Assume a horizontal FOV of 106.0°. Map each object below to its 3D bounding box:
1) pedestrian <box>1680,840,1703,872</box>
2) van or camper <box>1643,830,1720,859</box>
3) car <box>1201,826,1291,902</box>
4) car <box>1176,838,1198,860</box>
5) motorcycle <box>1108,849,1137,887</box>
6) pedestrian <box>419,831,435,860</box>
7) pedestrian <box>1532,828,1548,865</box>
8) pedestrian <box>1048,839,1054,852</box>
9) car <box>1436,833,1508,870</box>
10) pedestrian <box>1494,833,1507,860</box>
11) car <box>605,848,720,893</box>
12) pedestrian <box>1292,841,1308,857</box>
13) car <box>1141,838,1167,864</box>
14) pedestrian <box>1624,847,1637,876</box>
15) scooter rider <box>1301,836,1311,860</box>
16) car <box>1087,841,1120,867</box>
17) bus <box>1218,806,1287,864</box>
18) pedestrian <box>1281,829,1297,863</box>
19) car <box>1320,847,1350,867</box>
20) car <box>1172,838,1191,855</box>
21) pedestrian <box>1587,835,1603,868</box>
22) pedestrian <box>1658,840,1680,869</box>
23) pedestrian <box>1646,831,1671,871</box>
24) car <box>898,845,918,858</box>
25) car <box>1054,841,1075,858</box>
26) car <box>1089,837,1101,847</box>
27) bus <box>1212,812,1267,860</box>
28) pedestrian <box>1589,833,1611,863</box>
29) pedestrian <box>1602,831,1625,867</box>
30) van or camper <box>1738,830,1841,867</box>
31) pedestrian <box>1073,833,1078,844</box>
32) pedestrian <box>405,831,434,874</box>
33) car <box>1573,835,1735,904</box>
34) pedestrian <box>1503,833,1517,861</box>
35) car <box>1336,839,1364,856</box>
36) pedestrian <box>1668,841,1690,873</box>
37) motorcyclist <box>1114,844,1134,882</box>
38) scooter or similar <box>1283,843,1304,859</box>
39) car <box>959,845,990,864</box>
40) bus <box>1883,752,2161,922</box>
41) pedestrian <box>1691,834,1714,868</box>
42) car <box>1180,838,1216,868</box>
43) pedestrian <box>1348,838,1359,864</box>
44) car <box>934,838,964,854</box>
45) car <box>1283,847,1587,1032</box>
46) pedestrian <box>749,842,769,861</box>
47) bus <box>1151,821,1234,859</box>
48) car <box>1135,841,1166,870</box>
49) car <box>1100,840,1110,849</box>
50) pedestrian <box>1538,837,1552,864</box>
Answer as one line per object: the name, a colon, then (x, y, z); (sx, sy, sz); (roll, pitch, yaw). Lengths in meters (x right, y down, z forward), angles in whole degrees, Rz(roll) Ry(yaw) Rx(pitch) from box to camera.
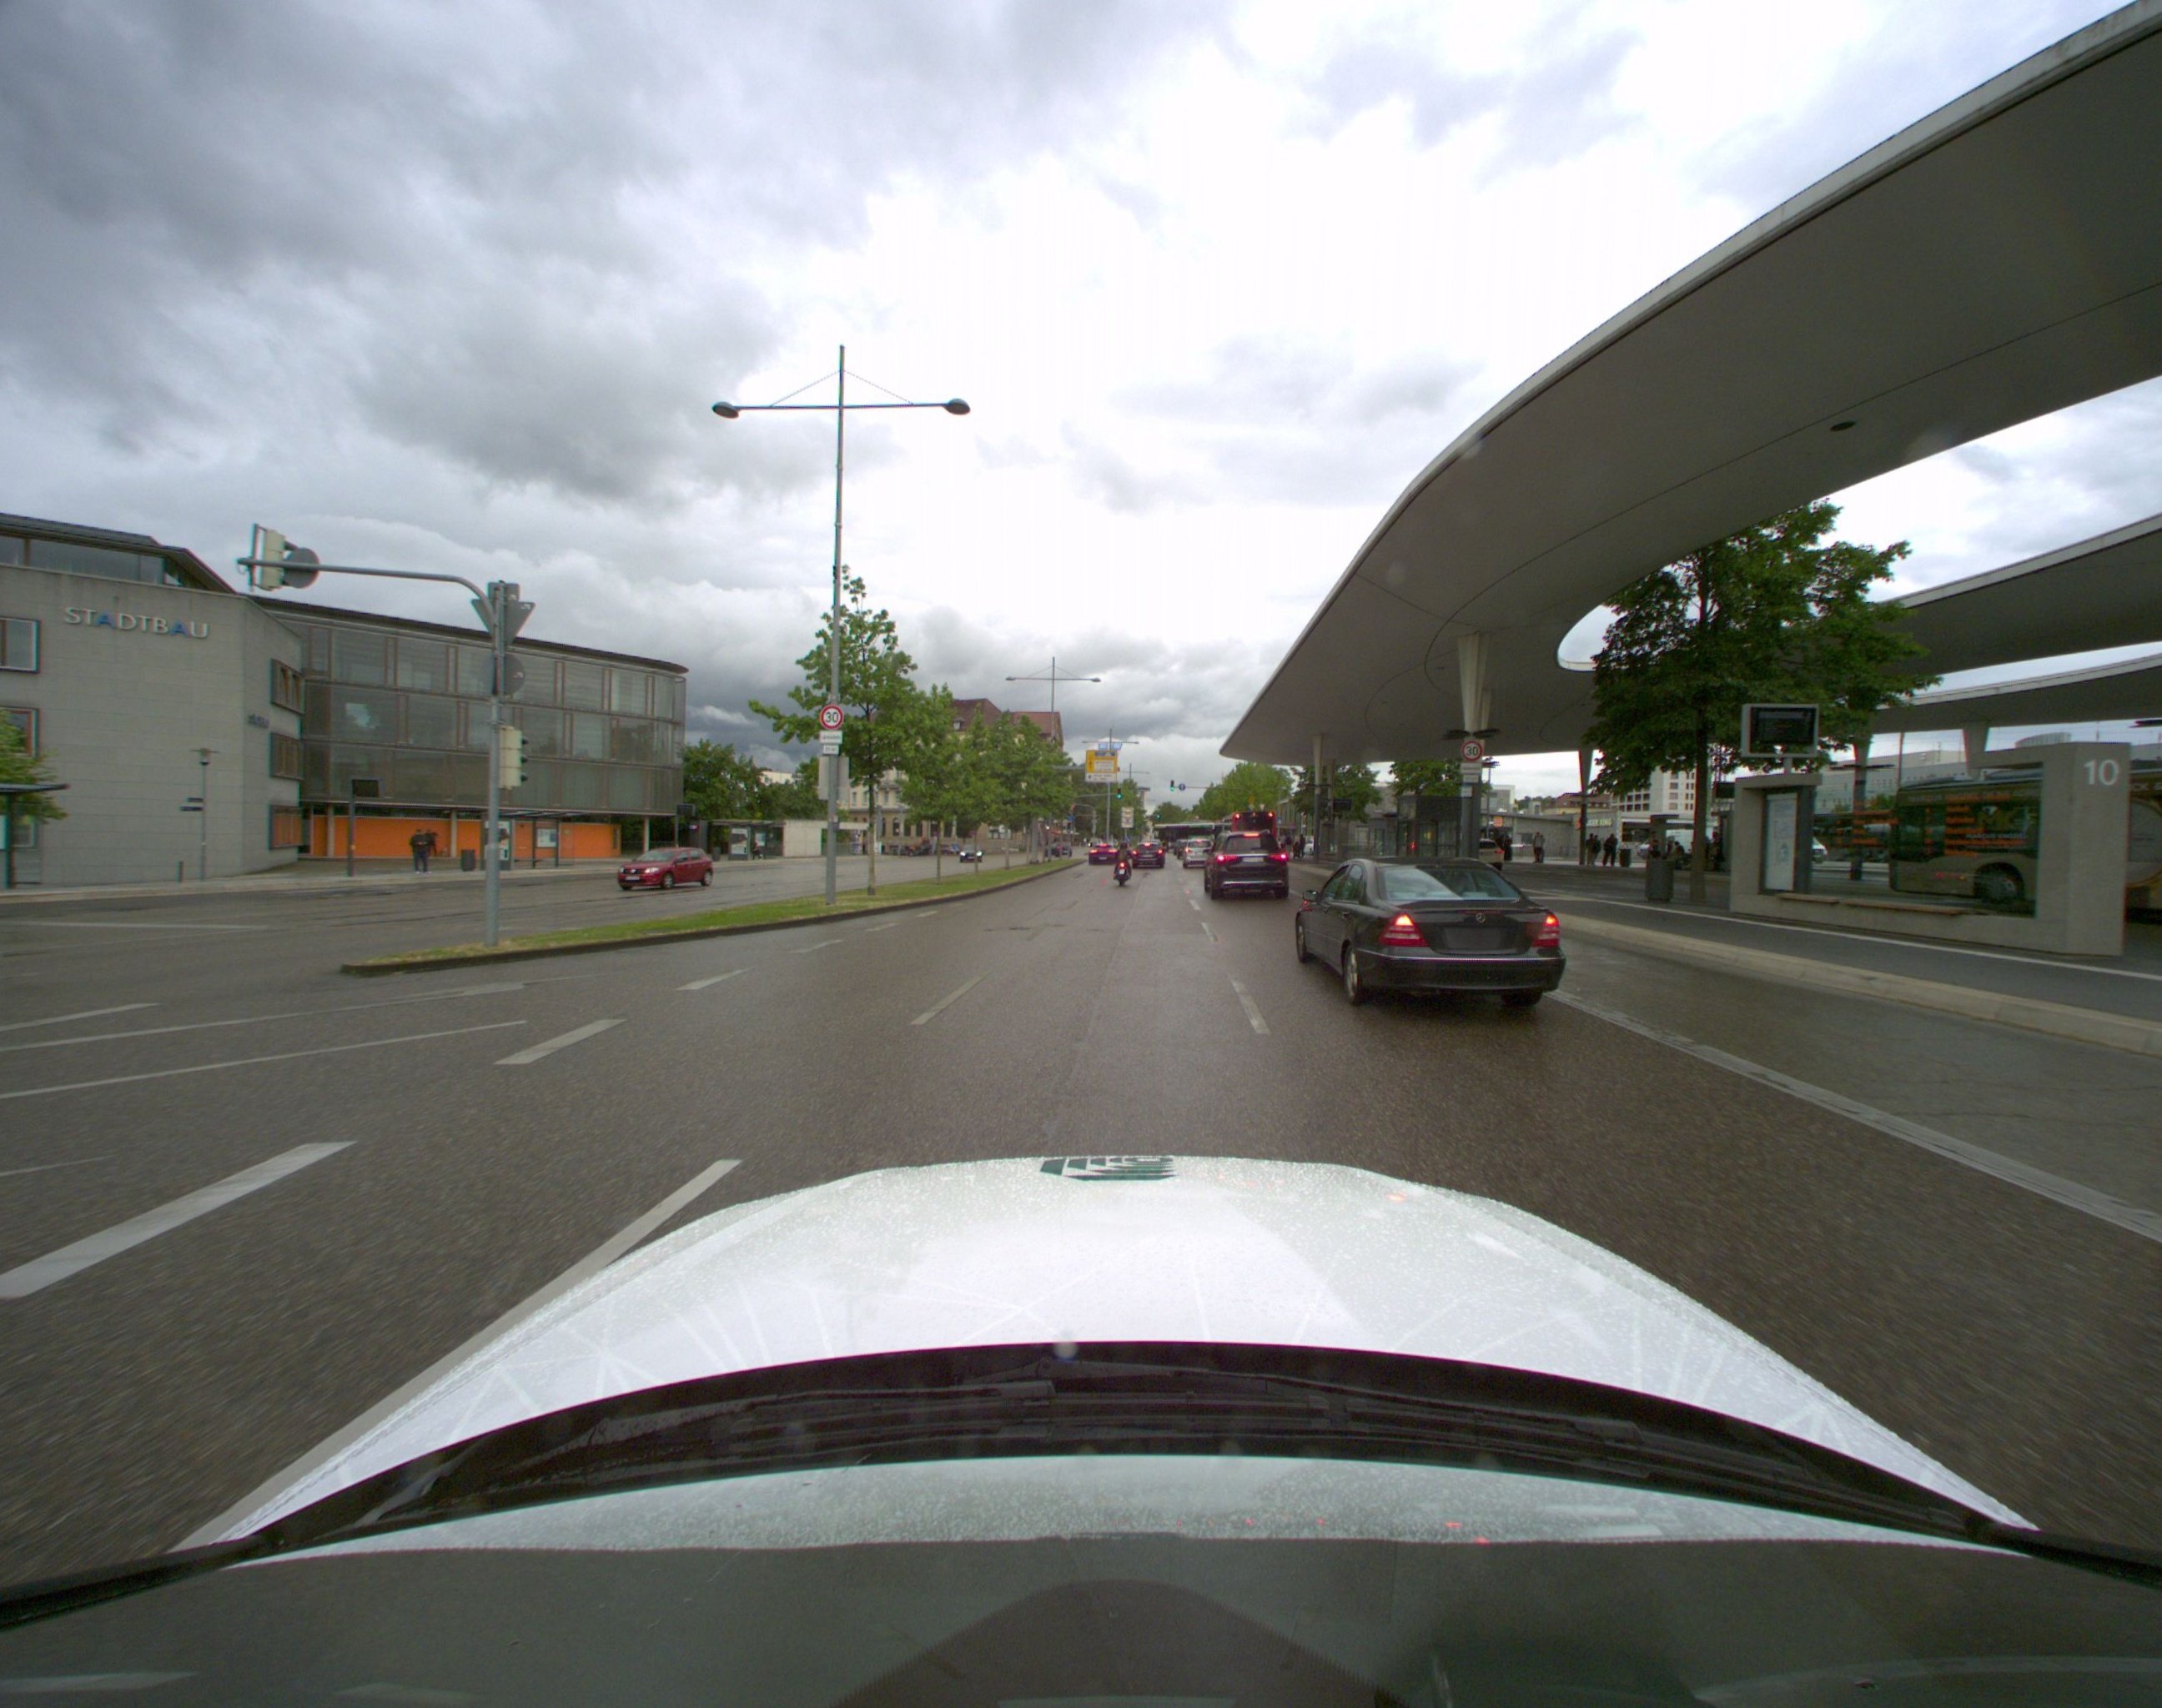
pedestrian: (27.405, 0.094, 36.556); (0.558, 1.444, 0.614); (0, 0, 2)
van or camper: (48.243, -0.728, 65.501); (4.668, 2.269, 2.111); (0, 0, 1)
car: (4.533, 0.203, 23.048); (1.948, 1.875, 4.881); (-2, 1, 5)
car: (8.347, -0.415, 64.179); (1.568, 1.567, 3.877); (-2, 1, 5)
motorcycle: (1.499, 0.490, 29.154); (0.788, 1.262, 1.860); (-1, 1, 9)
pedestrian: (-38.730, -0.503, 48.224); (0.469, 1.684, 0.647); (0, 1, 36)
pedestrian: (26.023, -0.444, 46.178); (0.716, 2.014, 0.674); (3, -3, 32)
pedestrian: (-4.719, -1.301, 127.365); (0.726, 2.013, 0.820); (-1, 1, -21)
car: (18.702, -0.132, 39.171); (1.704, 1.662, 4.245); (1, 1, 4)
pedestrian: (25.937, -0.452, 50.382); (0.574, 1.578, 0.565); (2, -3, 35)
car: (-15.403, 0.550, 30.213); (1.813, 1.552, 4.040); (0, 1, 7)
pedestrian: (14.034, -0.306, 52.223); (0.906, 0.985, 0.636); (1, -3, 19)
car: (4.831, -0.234, 53.595); (1.568, 1.567, 3.877); (-2, 1, 5)
pedestrian: (28.039, 0.384, 41.558); (0.469, 1.390, 0.564); (2, -3, 40)
scooter rider: (14.401, -0.383, 52.172); (0.586, 1.490, 0.768); (0, 0, 19)
car: (1.525, -0.033, 53.611); (1.807, 1.570, 4.411); (-2, 1, 5)
bus: (10.677, -1.176, 51.809); (3.269, 3.291, 10.897); (0, 1, 6)
pedestrian: (12.556, -0.476, 49.178); (0.771, 2.013, 0.785); (3, 1, 18)
car: (22.655, 0.227, 72.798); (1.704, 1.662, 4.245); (1, 1, 5)
car: (9.349, -0.716, 76.100); (1.568, 1.567, 3.802); (-2, 1, 5)
pedestrian: (24.955, -0.102, 39.560); (0.592, 1.582, 0.716); (1, -2, 29)
pedestrian: (27.380, 0.021, 37.920); (0.558, 1.361, 0.614); (0, 0, 2)
pedestrian: (24.524, -0.141, 34.598); (0.558, 1.691, 0.613); (1, 1, -2)
car: (-22.901, -0.362, 107.646); (1.668, 1.604, 3.222); (-4, 2, -29)
car: (-1.621, -0.473, 79.328); (1.832, 1.627, 3.701); (0, 0, -4)
car: (2.415, -2.104, 138.508); (1.771, 1.567, 3.435); (-2, 1, 5)
bus: (11.659, -1.320, 60.616); (3.274, 3.289, 8.865); (0, 1, 6)
pedestrian: (27.940, -0.318, 43.817); (0.582, 1.578, 0.766); (5, -3, -27)
pedestrian: (26.569, -0.250, 40.662); (0.704, 1.707, 0.771); (-4, 2, 18)
van or camper: (50.025, -0.393, 57.725); (2.084, 2.508, 6.220); (0, 0, 2)
pedestrian: (-0.966, -2.772, 144.021); (0.726, 1.965, 0.820); (-1, 1, -21)
pedestrian: (-26.253, -0.079, 32.324); (0.471, 1.684, 0.766); (0, 0, 12)
car: (13.187, 0.288, 18.981); (1.640, 1.453, 3.241); (0, 1, 4)
pedestrian: (26.702, -0.436, 50.679); (0.574, 1.716, 0.564); (2, -3, 40)
car: (24.661, -0.600, 74.849); (1.535, 1.560, 3.410); (0, 1, 1)
pedestrian: (27.373, 0.116, 37.285); (0.558, 1.444, 0.614); (0, 0, 2)
motorcyclist: (1.566, 0.305, 29.280); (0.638, 1.347, 0.690); (0, 1, 8)
scooter or similar: (13.702, -0.171, 52.456); (1.233, 1.013, 0.768); (0, 0, 19)
car: (-8.831, 0.031, 67.752); (1.673, 1.528, 4.643); (0, 1, 3)
bus: (20.694, -0.312, 14.082); (2.708, 3.043, 12.108); (0, 1, 5)
pedestrian: (26.988, -0.122, 35.372); (0.558, 1.444, 0.636); (0, 0, 2)
car: (6.452, -0.093, 45.186); (1.732, 1.567, 3.877); (-2, 1, 5)
pedestrian: (17.830, -0.218, 53.347); (0.569, 1.678, 0.586); (0, 0, 31)
car: (-15.515, -0.949, 95.736); (1.879, 1.684, 3.957); (5, -2, -35)
car: (3.415, 0.687, 8.800); (1.690, 1.462, 4.309); (-1, 1, 4)
pedestrian: (-23.115, -0.167, 58.426); (0.967, 1.267, 0.854); (4, 2, 26)
bus: (12.194, -1.493, 90.622); (2.853, 3.987, 11.758); (0, 0, -27)
car: (3.955, 0.028, 45.821); (1.567, 1.504, 3.878); (-2, 1, 6)
car: (4.237, -1.688, 144.728); (1.568, 1.567, 3.435); (-2, 1, 5)
pedestrian: (28.260, -0.217, 49.590); (0.574, 1.578, 0.564); (2, -3, 40)
